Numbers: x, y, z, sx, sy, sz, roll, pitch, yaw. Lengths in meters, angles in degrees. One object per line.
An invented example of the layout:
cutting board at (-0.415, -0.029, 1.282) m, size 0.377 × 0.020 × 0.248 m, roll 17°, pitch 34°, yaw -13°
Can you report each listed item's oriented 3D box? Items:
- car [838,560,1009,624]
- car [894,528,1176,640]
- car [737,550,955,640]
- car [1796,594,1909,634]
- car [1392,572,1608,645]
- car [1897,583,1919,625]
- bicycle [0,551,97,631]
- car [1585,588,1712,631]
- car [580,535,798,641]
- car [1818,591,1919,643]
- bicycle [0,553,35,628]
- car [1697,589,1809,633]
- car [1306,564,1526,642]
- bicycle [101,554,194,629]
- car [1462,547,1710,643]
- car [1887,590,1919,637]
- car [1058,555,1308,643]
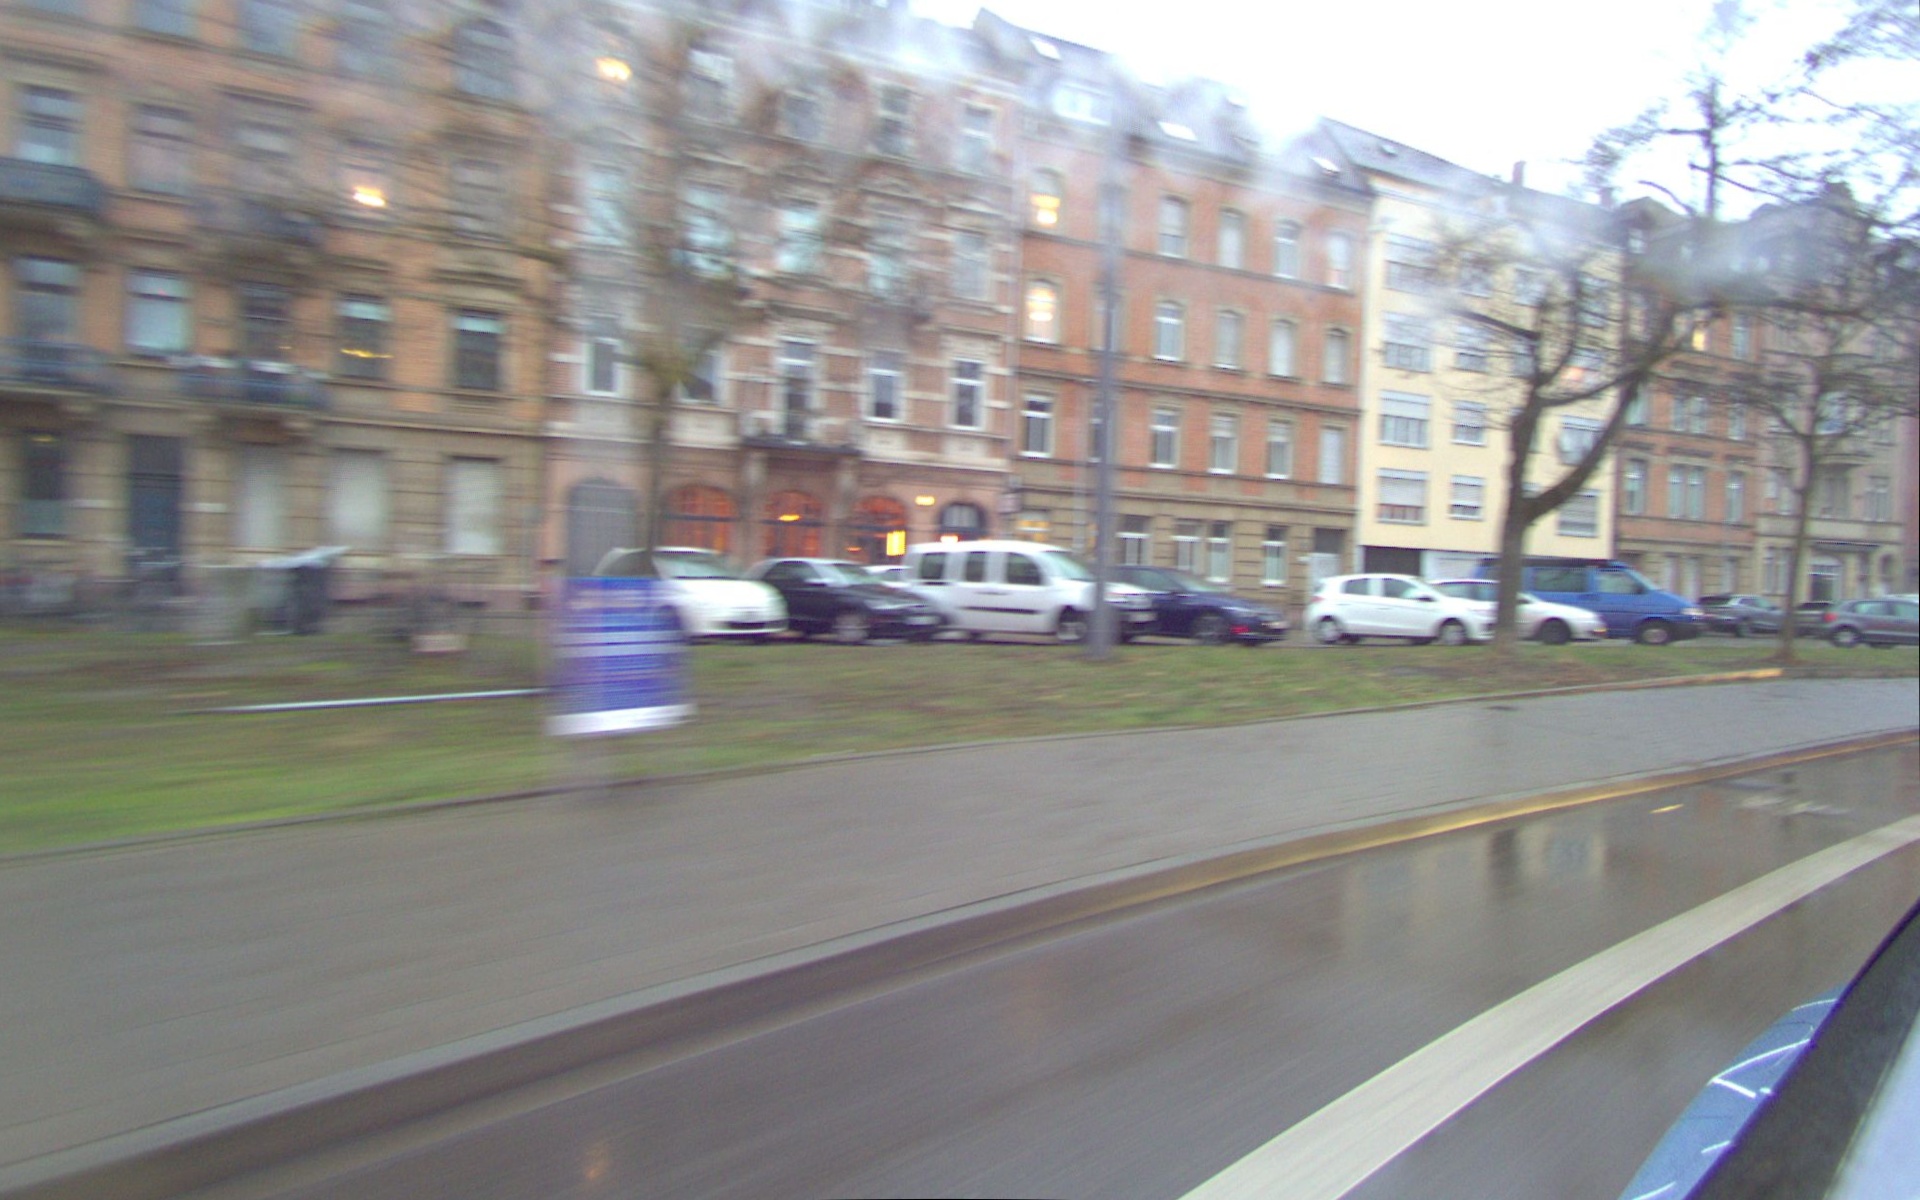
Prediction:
car at (-0.927, -0.154, 25.728) m, size 3.966 × 1.520 × 1.740 m, roll 1°, pitch -1°, yaw -24°
car at (1.204, -0.349, 17.531) m, size 4.639 × 1.612 × 1.754 m, roll 4°, pitch 3°, yaw 37°
car at (-1.941, -0.106, 16.924) m, size 3.412 × 1.368 × 1.642 m, roll 1°, pitch 0°, yaw 36°
car at (36.023, 0.545, 40.867) m, size 3.916 × 1.562 × 1.698 m, roll 0°, pitch 0°, yaw -19°
car at (11.548, 0.192, 21.766) m, size 3.969 × 1.433 × 1.623 m, roll -1°, pitch -1°, yaw 32°
car at (41.486, 0.172, 42.438) m, size 3.392 × 1.725 × 1.678 m, roll 0°, pitch -1°, yaw -17°
bicycle at (-12.430, -0.123, 13.716) m, size 0.613 × 0.978 × 2.174 m, roll 3°, pitch -1°, yaw -28°
car at (25.100, 0.329, 36.901) m, size 4.090 × 1.497 × 1.755 m, roll 0°, pitch -1°, yaw -21°
car at (-4.239, -0.170, 15.631) m, size 3.451 × 1.461 × 1.591 m, roll 0°, pitch 0°, yaw 40°
car at (26.488, 0.469, 28.228) m, size 3.856 × 1.424 × 1.670 m, roll -1°, pitch -1°, yaw 40°
bicycle at (-12.935, -0.141, 13.272) m, size 0.613 × 0.978 × 2.174 m, roll 3°, pitch -1°, yaw -28°
car at (30.139, 0.406, 38.468) m, size 3.790 × 1.562 × 1.477 m, roll 1°, pitch 1°, yaw -19°
car at (9.260, 0.069, 20.707) m, size 3.760 × 1.451 × 1.734 m, roll -1°, pitch -1°, yaw 42°
bicycle at (-11.406, -0.148, 14.267) m, size 0.613 × 0.978 × 2.174 m, roll 1°, pitch 2°, yaw -28°
car at (14.178, -0.114, 23.190) m, size 4.686 × 2.008 × 1.778 m, roll 0°, pitch -1°, yaw 32°
car at (29.355, 0.452, 29.195) m, size 1.576 × 1.349 × 3.757 m, roll 0°, pitch 2°, yaw -45°
car at (3.974, -0.062, 18.366) m, size 4.046 × 1.250 × 1.745 m, roll 5°, pitch 2°, yaw 39°
